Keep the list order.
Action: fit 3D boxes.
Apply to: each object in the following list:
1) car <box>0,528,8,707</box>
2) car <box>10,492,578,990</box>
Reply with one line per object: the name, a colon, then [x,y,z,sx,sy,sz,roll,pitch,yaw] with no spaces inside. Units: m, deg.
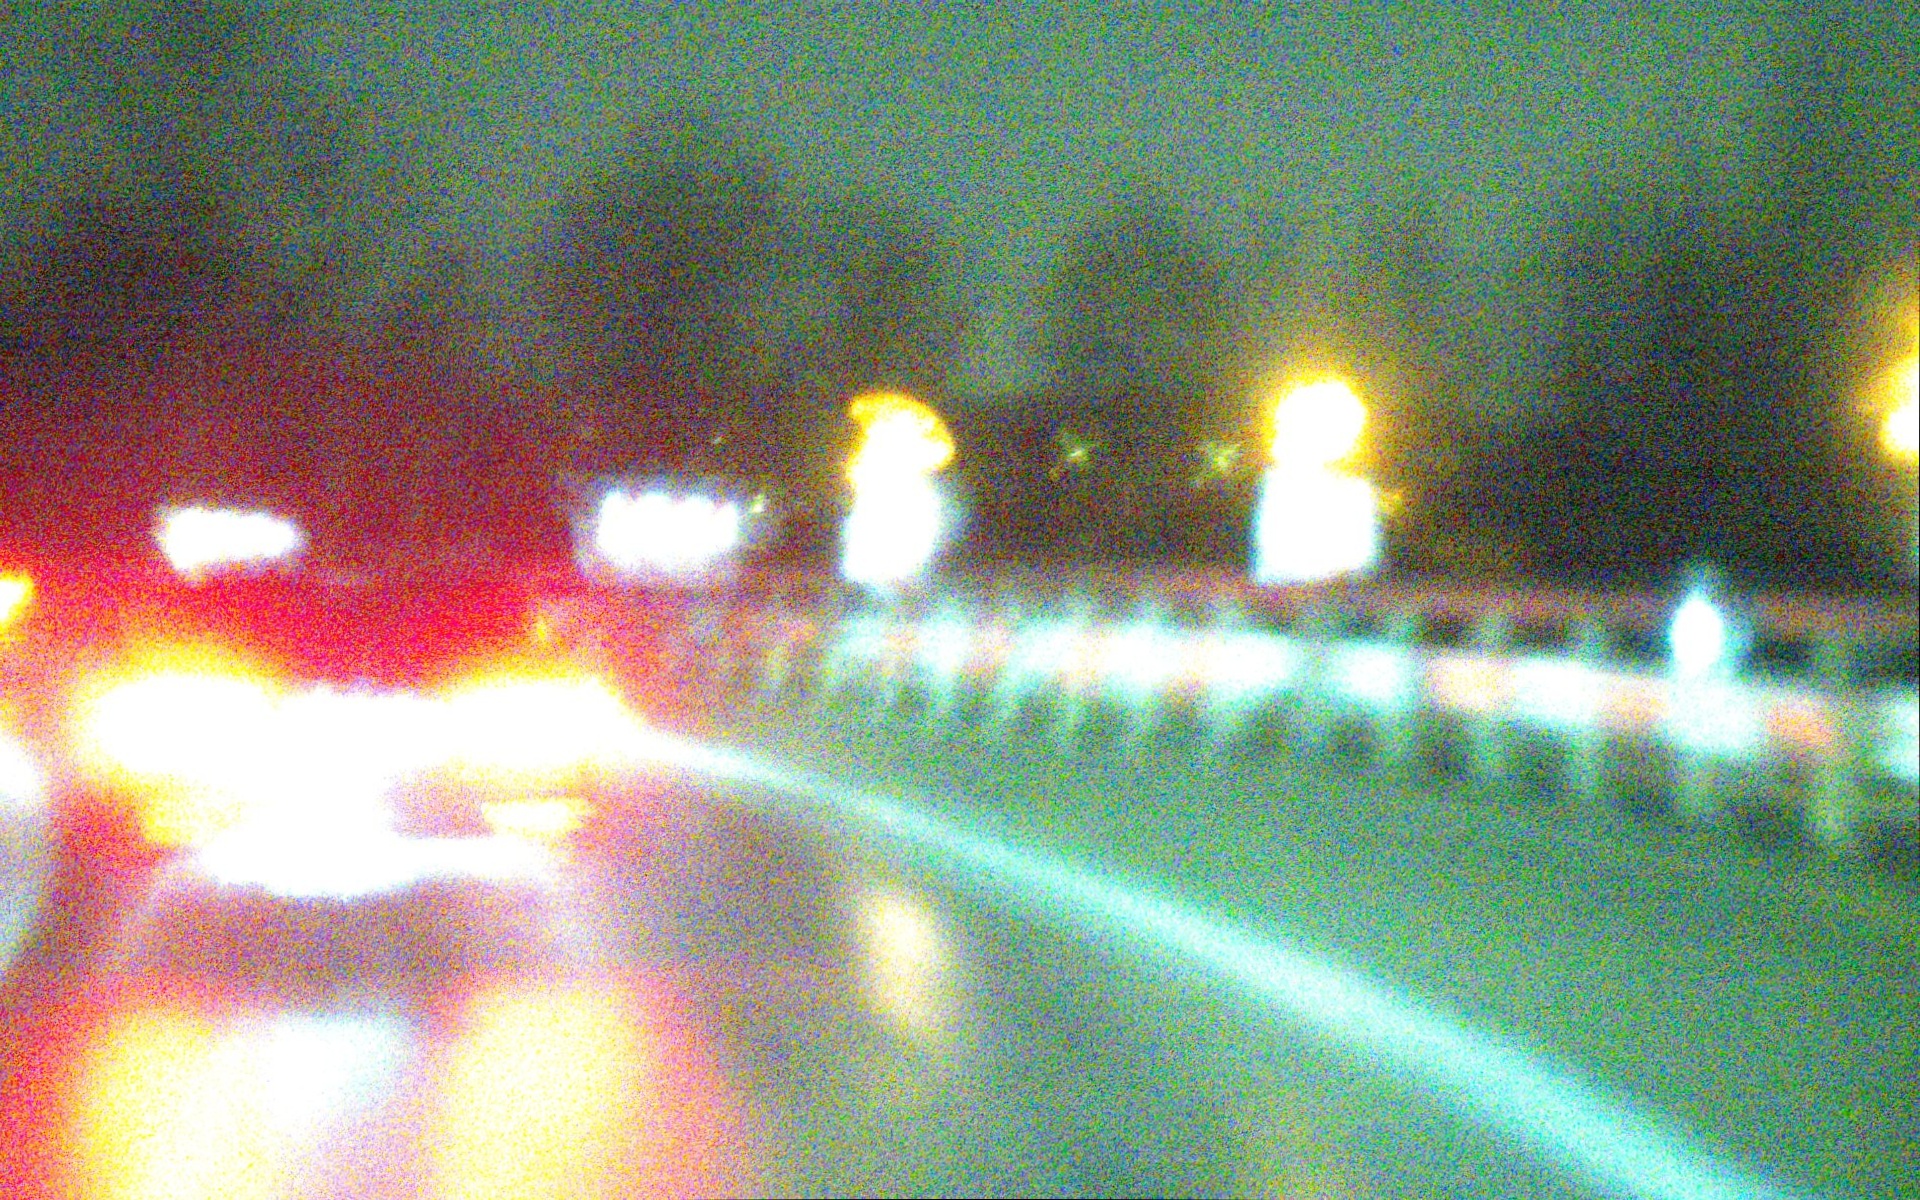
car: [-10.887,0.106,34.355,1.895,1.714,4.046,1,1,-26]
car: [-2.614,0.416,13.493,1.860,1.641,4.070,0,1,-11]
